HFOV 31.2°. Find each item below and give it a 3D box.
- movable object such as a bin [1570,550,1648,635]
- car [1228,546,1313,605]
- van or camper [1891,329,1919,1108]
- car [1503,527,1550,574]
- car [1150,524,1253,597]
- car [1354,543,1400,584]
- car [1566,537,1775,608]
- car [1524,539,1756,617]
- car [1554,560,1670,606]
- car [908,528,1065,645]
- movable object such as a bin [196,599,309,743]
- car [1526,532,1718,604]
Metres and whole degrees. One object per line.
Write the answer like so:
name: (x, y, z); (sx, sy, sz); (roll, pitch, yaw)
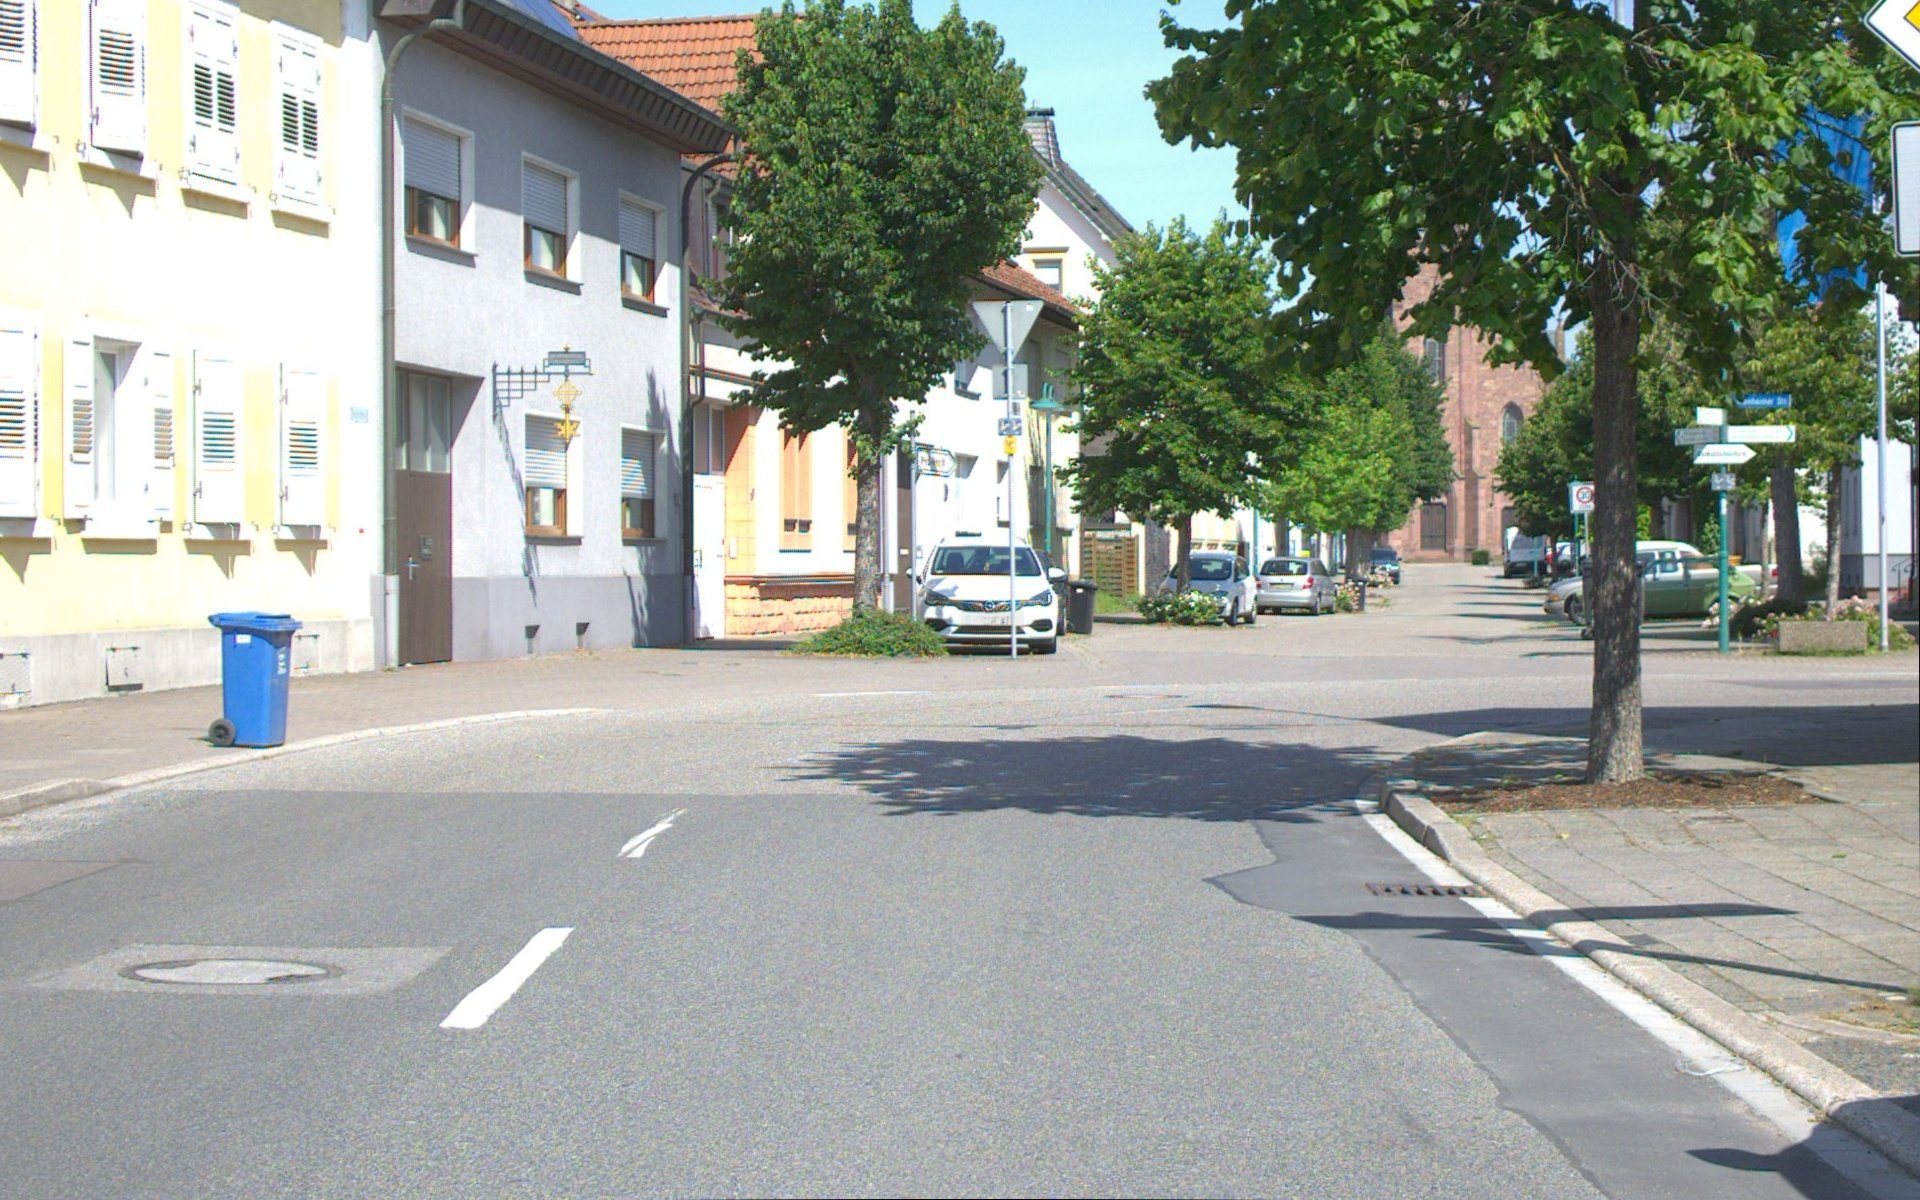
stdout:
movable object such as a bin: (10.370, -0.120, 54.934); (1.188, 1.333, 0.788); (0, 1, 14)
car: (7.889, -0.646, 87.629); (1.994, 1.459, 4.000); (1, 1, 3)
van or camper: (3.440, 0.350, 6.173); (1.993, 1.947, 5.346); (0, 1, -1)
car: (28.379, -2.467, 172.152); (2.246, 2.271, 4.501); (1, 0, 10)
car: (5.435, -0.886, 76.922); (1.994, 1.568, 3.999); (0, 1, 8)
car: (19.110, -1.679, 157.620); (1.994, 1.809, 3.999); (0, 1, 6)
car: (13.851, -0.547, 67.257); (3.925, 1.340, 1.999); (0, 1, 10)
car: (14.581, -0.493, 73.917); (4.805, 1.618, 1.999); (0, 1, 10)
car: (23.304, -0.615, 122.985); (3.988, 1.612, 1.999); (0, 1, 8)
car: (0.291, -0.210, 44.601); (1.849, 1.435, 4.513); (0, 1, -2)
movable object such as a bin: (-4.927, 0.489, 23.950); (0.642, 0.977, 0.613); (0, 1, 2)
car: (14.734, -0.734, 76.716); (4.152, 1.563, 1.999); (0, 1, 10)
